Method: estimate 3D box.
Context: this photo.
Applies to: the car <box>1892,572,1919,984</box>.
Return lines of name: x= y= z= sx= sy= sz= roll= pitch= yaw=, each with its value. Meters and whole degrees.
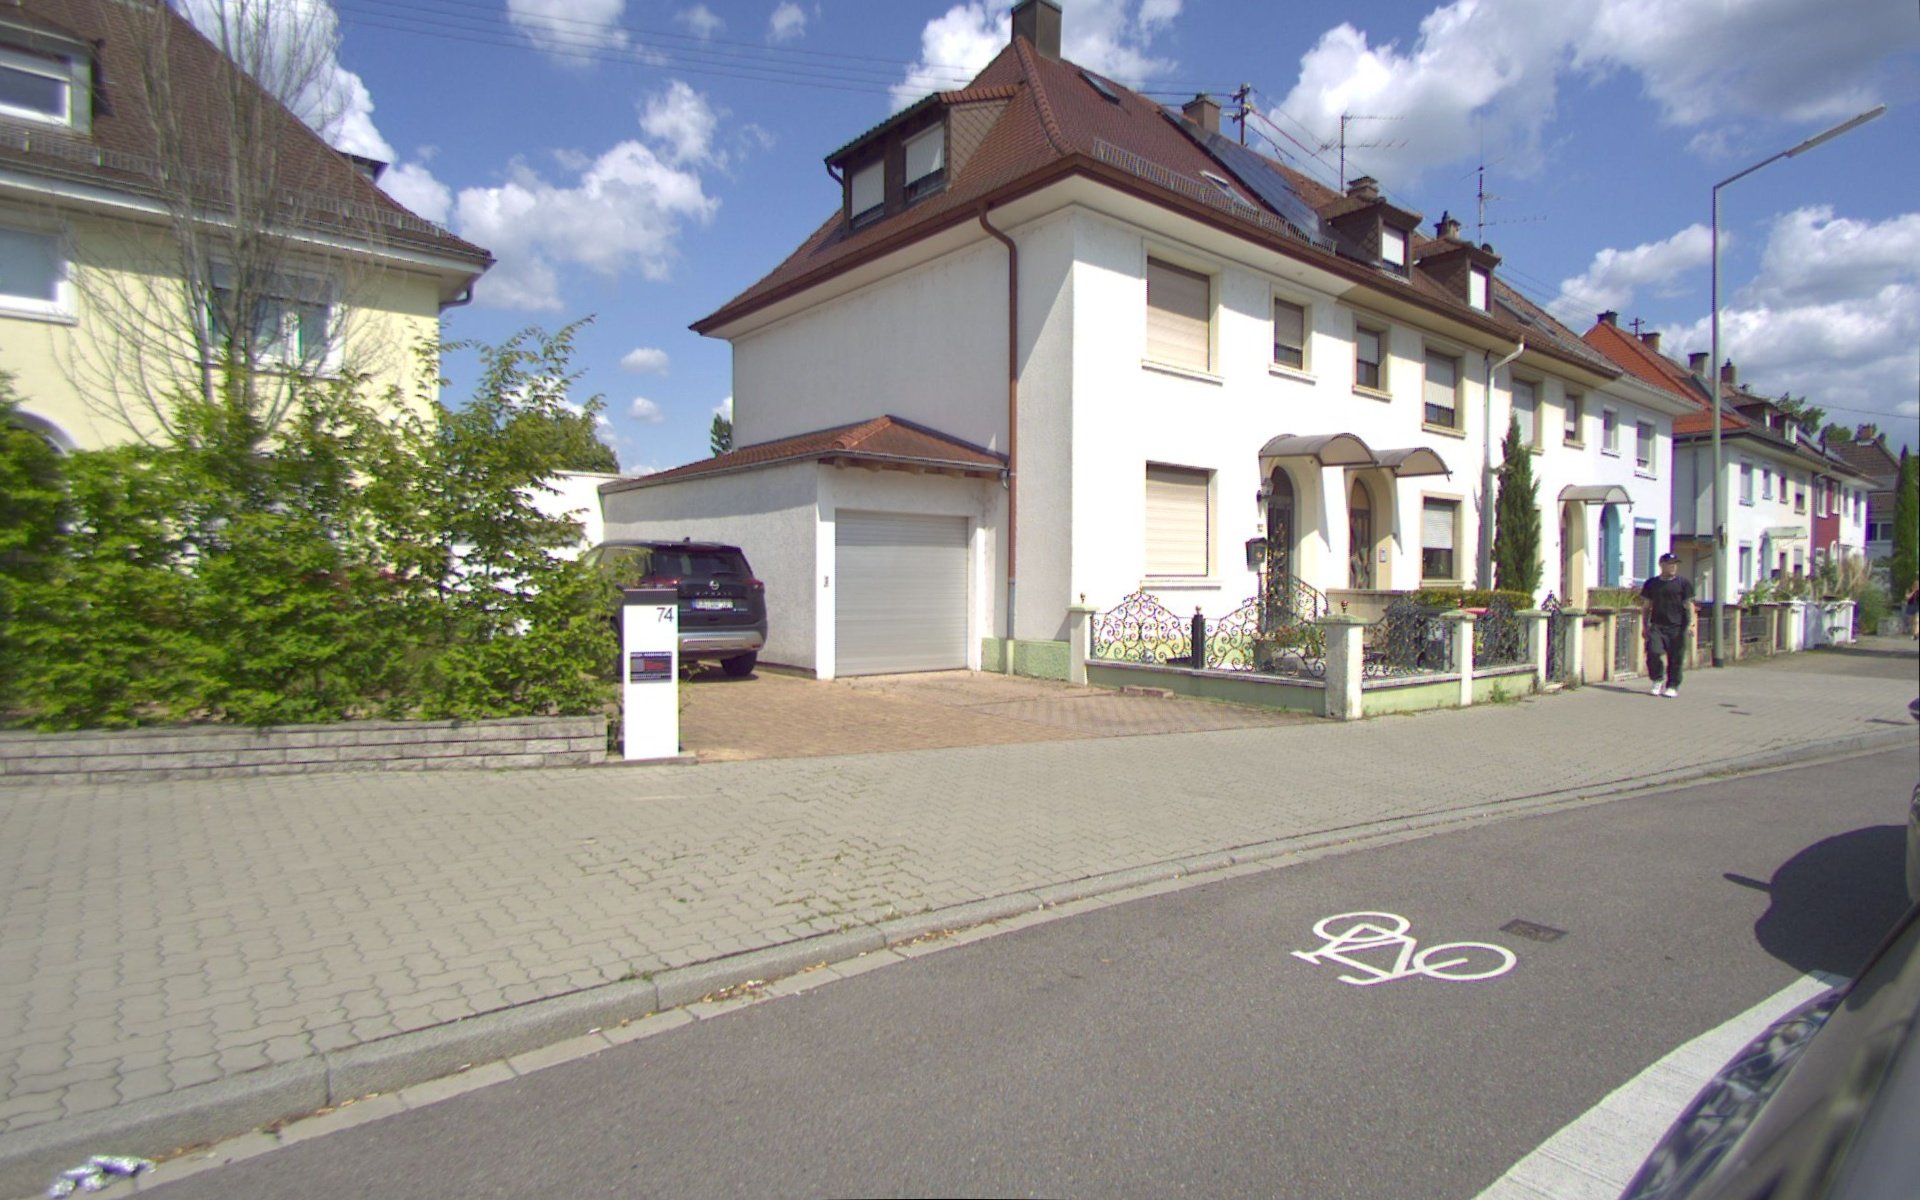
car: x=5.715 y=0.651 z=4.622 sx=4.607 sy=1.492 sz=1.764 roll=0 pitch=1 yaw=-43

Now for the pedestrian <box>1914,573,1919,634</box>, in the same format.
pedestrian: x=27.242 y=0.102 z=28.457 sx=0.607 sy=1.732 sz=0.519 roll=0 pitch=1 yaw=-39

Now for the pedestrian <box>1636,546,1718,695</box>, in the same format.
pedestrian: x=8.934 y=0.235 z=12.614 sx=0.921 sy=1.790 sz=0.592 roll=0 pitch=1 yaw=-41

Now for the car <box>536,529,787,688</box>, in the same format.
car: x=-4.020 y=0.045 z=13.183 sx=1.833 sy=1.729 sz=3.998 roll=0 pitch=1 yaw=-37
